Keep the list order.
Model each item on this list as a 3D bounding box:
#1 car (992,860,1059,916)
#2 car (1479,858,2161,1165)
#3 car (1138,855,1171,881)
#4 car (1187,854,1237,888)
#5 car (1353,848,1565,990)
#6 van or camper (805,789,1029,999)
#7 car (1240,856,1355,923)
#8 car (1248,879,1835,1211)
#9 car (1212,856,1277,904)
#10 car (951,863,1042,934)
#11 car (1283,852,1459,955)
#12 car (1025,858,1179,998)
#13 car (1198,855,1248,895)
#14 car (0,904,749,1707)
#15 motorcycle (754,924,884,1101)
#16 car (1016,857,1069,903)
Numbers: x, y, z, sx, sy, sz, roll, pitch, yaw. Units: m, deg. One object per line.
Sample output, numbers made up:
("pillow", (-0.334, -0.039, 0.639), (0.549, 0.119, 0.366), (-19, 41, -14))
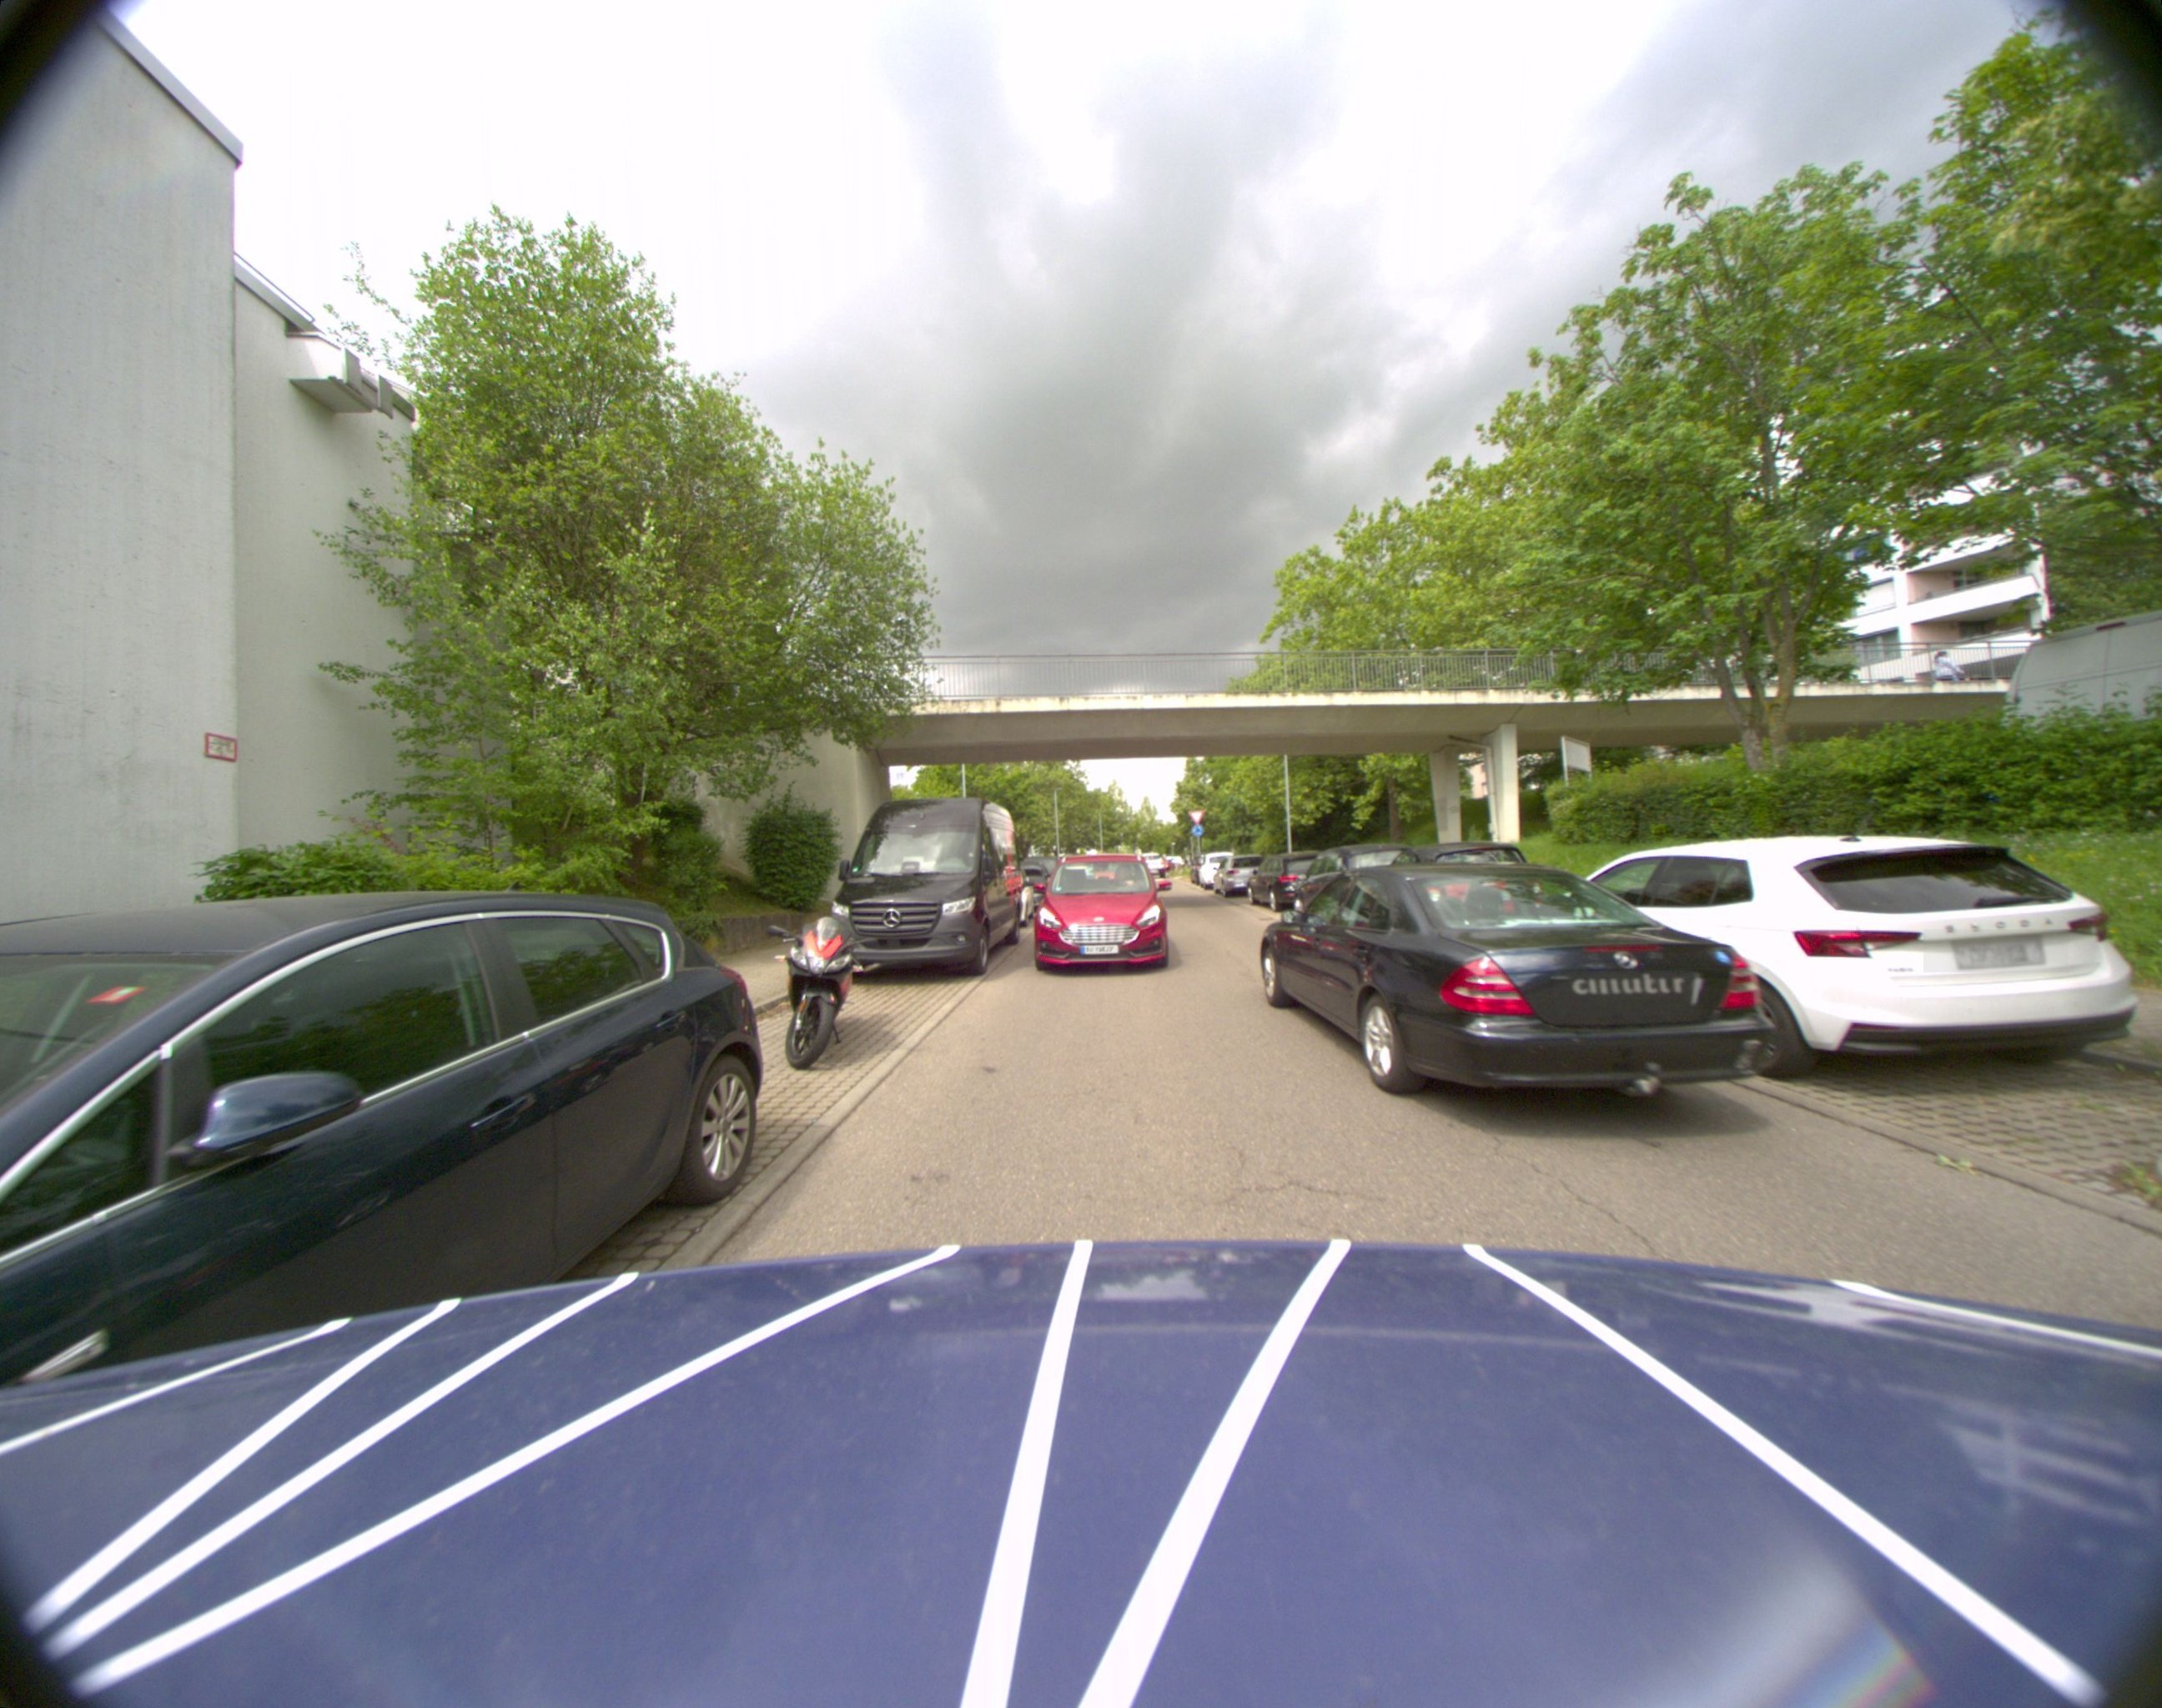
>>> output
("car", (-1.628, 0.982, 23.421), (1.604, 1.478, 3.722), (-2, 0, 3))
("car", (5.082, 0.831, 5.951), (1.812, 1.396, 4.048), (-5, 0, 2))
("car", (4.770, 0.889, 49.775), (1.813, 1.561, 3.722), (-2, 0, 0))
("car", (6.405, 0.801, 37.598), (1.813, 1.561, 3.722), (-2, 0, 0))
("car", (5.077, 0.787, 10.583), (1.597, 1.575, 2.685), (-6, 0, 4))
("van or camper", (-2.186, 0.479, 12.082), (1.998, 2.481, 5.759), (-2, 0, 3))
("car", (5.711, 0.875, 20.620), (1.813, 1.472, 4.486), (-4, 0, 1))
("car", (2.686, 0.978, 5.807), (1.756, 1.411, 4.367), (-2, 0, -1))
("car", (5.859, 0.898, 27.678), (1.812, 1.447, 3.862), (-5, 0, 6))
("car", (-1.959, 1.011, 18.601), (1.586, 1.441, 3.722), (-2, 0, 3))
("car", (5.364, 0.830, 14.654), (1.813, 1.575, 3.985), (-4, 0, 1))
("car", (0.331, 0.912, 11.088), (1.812, 1.600, 3.722), (-2, 0, 2))
("car", (6.100, 0.861, 32.989), (1.812, 1.561, 3.723), (-2, 0, 6))
("car", (-2.498, 0.965, 1.700), (1.695, 1.411, 4.000), (-2, 0, 0))
("motorcycle", (-2.133, 1.228, 6.441), (0.710, 1.061, 1.929), (-2, 0, -10))
("car", (-1.416, 0.927, 28.951), (1.604, 1.533, 3.722), (-2, 0, 3))
